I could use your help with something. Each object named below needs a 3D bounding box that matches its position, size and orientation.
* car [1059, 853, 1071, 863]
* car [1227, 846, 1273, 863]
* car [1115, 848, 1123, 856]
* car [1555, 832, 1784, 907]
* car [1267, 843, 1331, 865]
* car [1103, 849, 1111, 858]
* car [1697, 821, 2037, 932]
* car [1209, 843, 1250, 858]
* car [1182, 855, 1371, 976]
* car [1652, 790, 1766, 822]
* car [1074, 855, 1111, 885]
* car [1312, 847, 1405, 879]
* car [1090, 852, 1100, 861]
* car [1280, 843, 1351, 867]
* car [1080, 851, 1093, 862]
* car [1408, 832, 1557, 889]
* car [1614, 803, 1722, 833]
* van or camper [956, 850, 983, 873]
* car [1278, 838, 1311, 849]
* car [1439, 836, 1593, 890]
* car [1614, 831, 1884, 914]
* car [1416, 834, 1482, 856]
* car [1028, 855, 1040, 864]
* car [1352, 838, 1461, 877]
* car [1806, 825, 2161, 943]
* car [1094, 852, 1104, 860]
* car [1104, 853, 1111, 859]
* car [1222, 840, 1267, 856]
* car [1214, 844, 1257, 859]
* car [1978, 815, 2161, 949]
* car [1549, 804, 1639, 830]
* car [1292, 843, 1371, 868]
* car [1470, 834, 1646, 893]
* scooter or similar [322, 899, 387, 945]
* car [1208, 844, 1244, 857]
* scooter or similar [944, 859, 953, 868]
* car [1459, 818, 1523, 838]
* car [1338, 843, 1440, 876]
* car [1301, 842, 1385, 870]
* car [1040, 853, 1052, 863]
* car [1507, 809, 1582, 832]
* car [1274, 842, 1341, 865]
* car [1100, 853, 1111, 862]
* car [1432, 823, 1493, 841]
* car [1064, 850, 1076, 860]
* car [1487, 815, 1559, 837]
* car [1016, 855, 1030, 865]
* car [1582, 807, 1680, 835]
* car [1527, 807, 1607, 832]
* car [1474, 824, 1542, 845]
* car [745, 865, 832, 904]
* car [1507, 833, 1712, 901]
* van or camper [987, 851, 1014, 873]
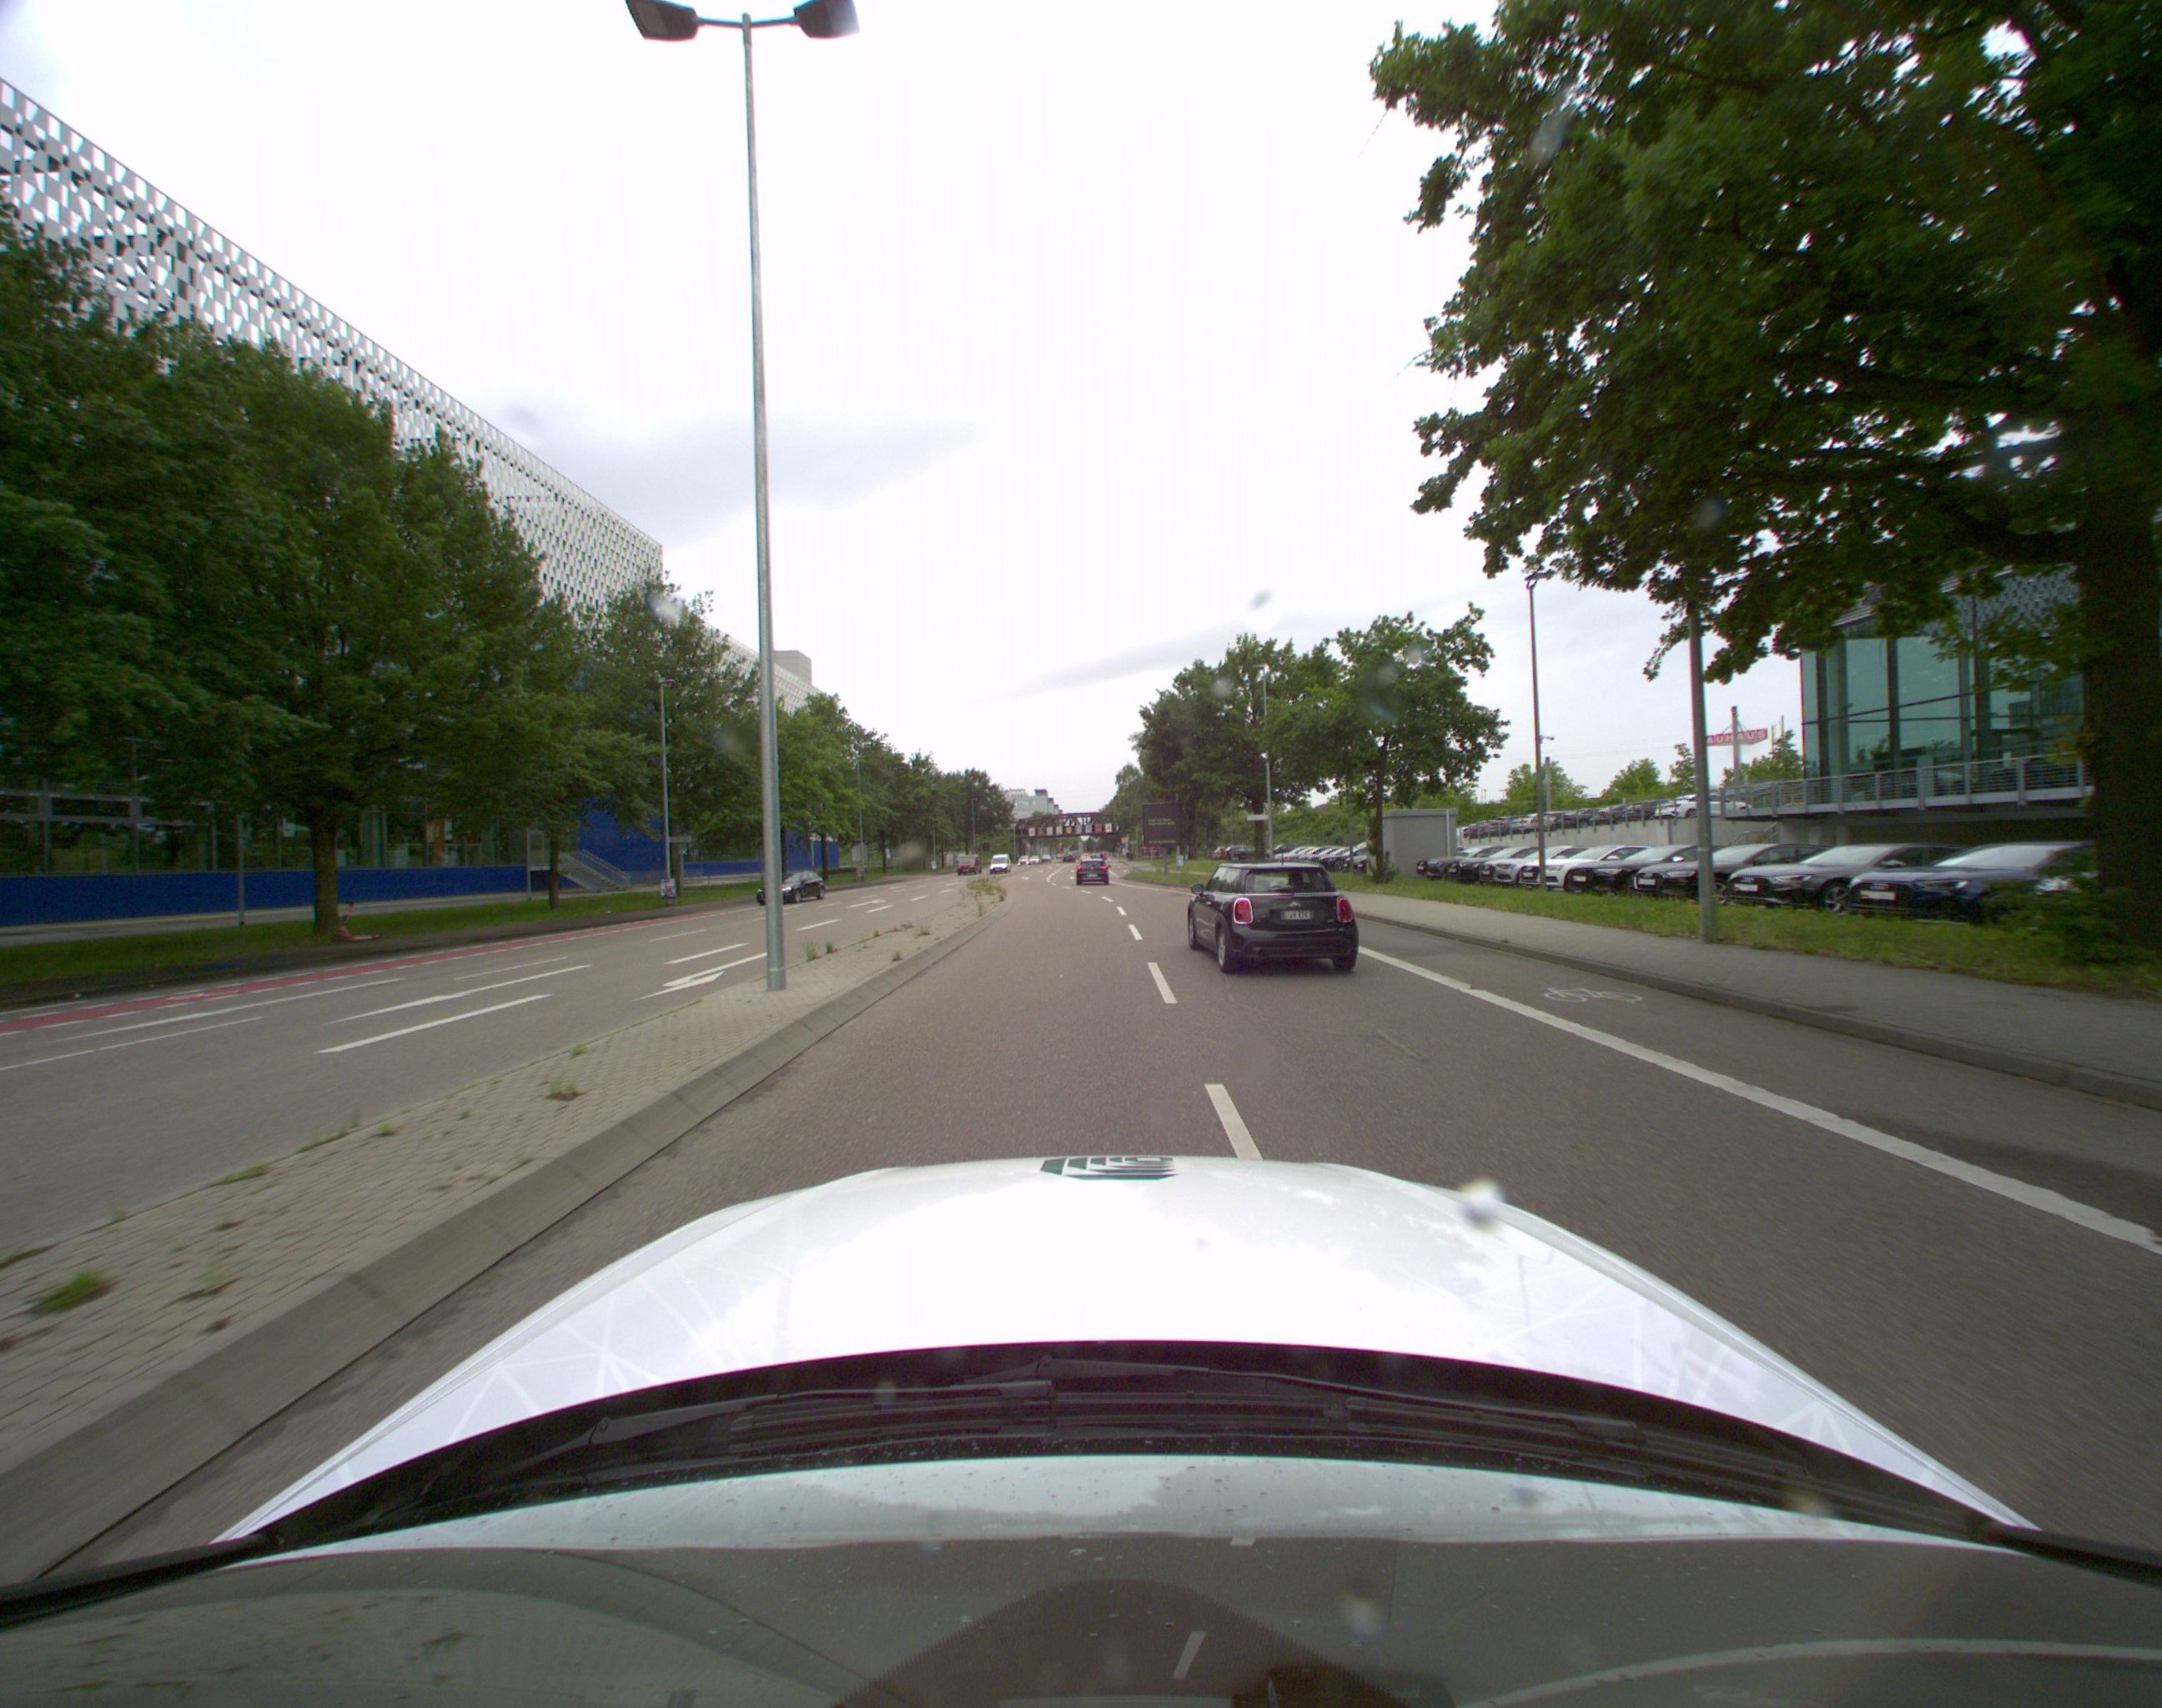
[{"bbox_3d":[-2.953,0.719,151.194,1.876,1.661,3.786,-1,2,4],"label":"car"},{"bbox_3d":[15.288,0.045,73.940,3.965,1.435,1.734,-1,2,7],"label":"car"},{"bbox_3d":[9.580,-0.467,203.489,1.942,1.815,4.005,-1,2,3],"label":"car"},{"bbox_3d":[14.513,0.335,20.305,4.160,1.468,2.002,4,2,2],"label":"car"},{"bbox_3d":[15.367,-0.014,57.551,4.072,1.435,1.730,-1,2,-1],"label":"car"},{"bbox_3d":[6.226,-0.097,194.815,1.942,1.815,4.005,-1,2,3],"label":"car"},{"bbox_3d":[14.185,0.344,14.925,4.159,1.662,2.002,3,2,2],"label":"car"},{"bbox_3d":[14.933,-0.359,81.807,3.965,1.435,1.734,-1,2,7],"label":"car"},{"bbox_3d":[2.564,0.763,11.569,1.780,1.416,3.642,-1,-1,0],"label":"car"},{"bbox_3d":[31.628,-2.412,41.086,4.322,1.496,1.882,-1,2,-1],"label":"car"},{"bbox_3d":[0.663,0.844,44.444,1.749,1.434,4.005,-2,1,4],"label":"car"},{"bbox_3d":[15.360,0.478,45.213,4.430,1.571,2.000,-2,0,0],"label":"car"},{"bbox_3d":[3.020,0.461,171.661,1.942,1.815,4.005,-1,2,3],"label":"car"},{"bbox_3d":[15.194,0.077,52.827,4.072,1.435,1.822,-1,2,-1],"label":"car"},{"bbox_3d":[0.984,0.467,142.351,2.126,1.661,3.786,-1,2,4],"label":"car"},{"bbox_3d":[14.936,0.207,30.503,4.532,1.701,2.002,4,2,2],"label":"car"},{"bbox_3d":[31.540,-1.947,43.848,4.322,1.496,2.069,-1,2,-1],"label":"car"},{"bbox_3d":[-10.995,0.706,80.454,1.869,1.986,4.890,-3,1,1],"label":"van or camper"},{"bbox_3d":[27.978,-1.370,106.806,3.965,1.435,1.734,-1,2,7],"label":"car"},{"bbox_3d":[14.798,0.276,27.900,4.160,1.445,1.961,4,2,2],"label":"car"},{"bbox_3d":[14.267,0.355,17.608,4.159,1.456,1.935,3,2,2],"label":"car"},{"bbox_3d":[26.509,-0.650,58.747,4.072,1.435,1.730,-1,2,-1],"label":"car"},{"bbox_3d":[-8.202,0.936,142.081,1.712,1.371,3.444,-1,2,4],"label":"car"},{"bbox_3d":[14.969,0.164,37.615,4.243,1.565,2.001,2,0,2],"label":"car"},{"bbox_3d":[14.101,0.413,12.457,4.166,1.485,1.978,3,2,1],"label":"car"},{"bbox_3d":[4.024,0.346,182.267,1.876,1.661,3.786,-1,2,4],"label":"car"},{"bbox_3d":[7.975,0.661,248.000,1.942,1.815,4.005,-1,2,3],"label":"car"},{"bbox_3d":[15.320,-0.560,76.406,3.965,1.435,1.734,-1,2,7],"label":"car"},{"bbox_3d":[15.060,-0.242,79.451,3.965,1.435,1.734,-1,2,7],"label":"car"},{"bbox_3d":[14.115,0.392,9.898,4.182,1.485,1.959,3,2,0],"label":"car"},{"bbox_3d":[30.920,-2.211,49.175,4.322,1.496,1.882,-1,2,-1],"label":"car"},{"bbox_3d":[15.372,0.087,50.205,4.328,1.488,1.843,-1,0,0],"label":"car"},{"bbox_3d":[14.811,0.272,25.488,4.277,1.504,2.030,4,1,2],"label":"car"},{"bbox_3d":[-21.174,1.962,23.760,0.653,1.196,1.377,-1,1,-1],"label":"scooter or similar"},{"bbox_3d":[16.174,-0.383,90.916,3.965,1.435,1.734,-1,2,7],"label":"car"},{"bbox_3d":[-16.990,1.243,104.183,0.760,1.089,2.007,-1,2,0],"label":"scooter or similar"},{"bbox_3d":[31.214,-2.000,62.089,4.072,1.435,1.730,-1,2,-1],"label":"car"},{"bbox_3d":[15.102,0.254,40.083,4.276,1.392,2.001,2,0,2],"label":"car"},{"bbox_3d":[15.350,0.102,47.838,4.328,1.503,1.930,2,0,0],"label":"car"},{"bbox_3d":[-6.985,0.772,163.720,1.932,1.675,3.786,-1,2,4],"label":"car"},{"bbox_3d":[30.964,-2.224,54.452,4.072,1.435,1.730,-1,2,-1],"label":"car"},{"bbox_3d":[15.337,-0.018,55.233,4.072,1.435,1.846,-1,2,-1],"label":"car"},{"bbox_3d":[4.527,0.635,151.612,1.876,1.661,3.786,-1,2,4],"label":"car"},{"bbox_3d":[31.481,-1.826,67.268,4.186,1.435,1.730,-1,2,-1],"label":"car"},{"bbox_3d":[-2.075,0.242,158.000,1.942,1.815,4.005,-1,2,3],"label":"car"},{"bbox_3d":[30.937,-1.972,57.062,4.072,1.435,1.947,-1,2,-1],"label":"car"},{"bbox_3d":[-8.961,0.921,126.345,1.747,1.446,3.343,-1,2,4],"label":"car"},{"bbox_3d":[31.389,-1.870,46.589,4.322,1.496,1.970,-1,2,-1],"label":"car"},{"bbox_3d":[30.887,-2.176,51.812,4.072,1.496,1.730,-1,2,-1],"label":"car"},{"bbox_3d":[31.091,-1.446,59.390,4.072,1.435,1.730,-1,2,-1],"label":"car"},{"bbox_3d":[-13.411,1.364,37.649,1.907,1.502,4.261,-4,-1,8],"label":"car"},{"bbox_3d":[14.739,0.328,22.913,4.377,1.520,2.001,4,2,1],"label":"car"},{"bbox_3d":[-7.539,0.729,76.623,1.748,1.747,4.410,-5,1,3],"label":"van or camper"}]
